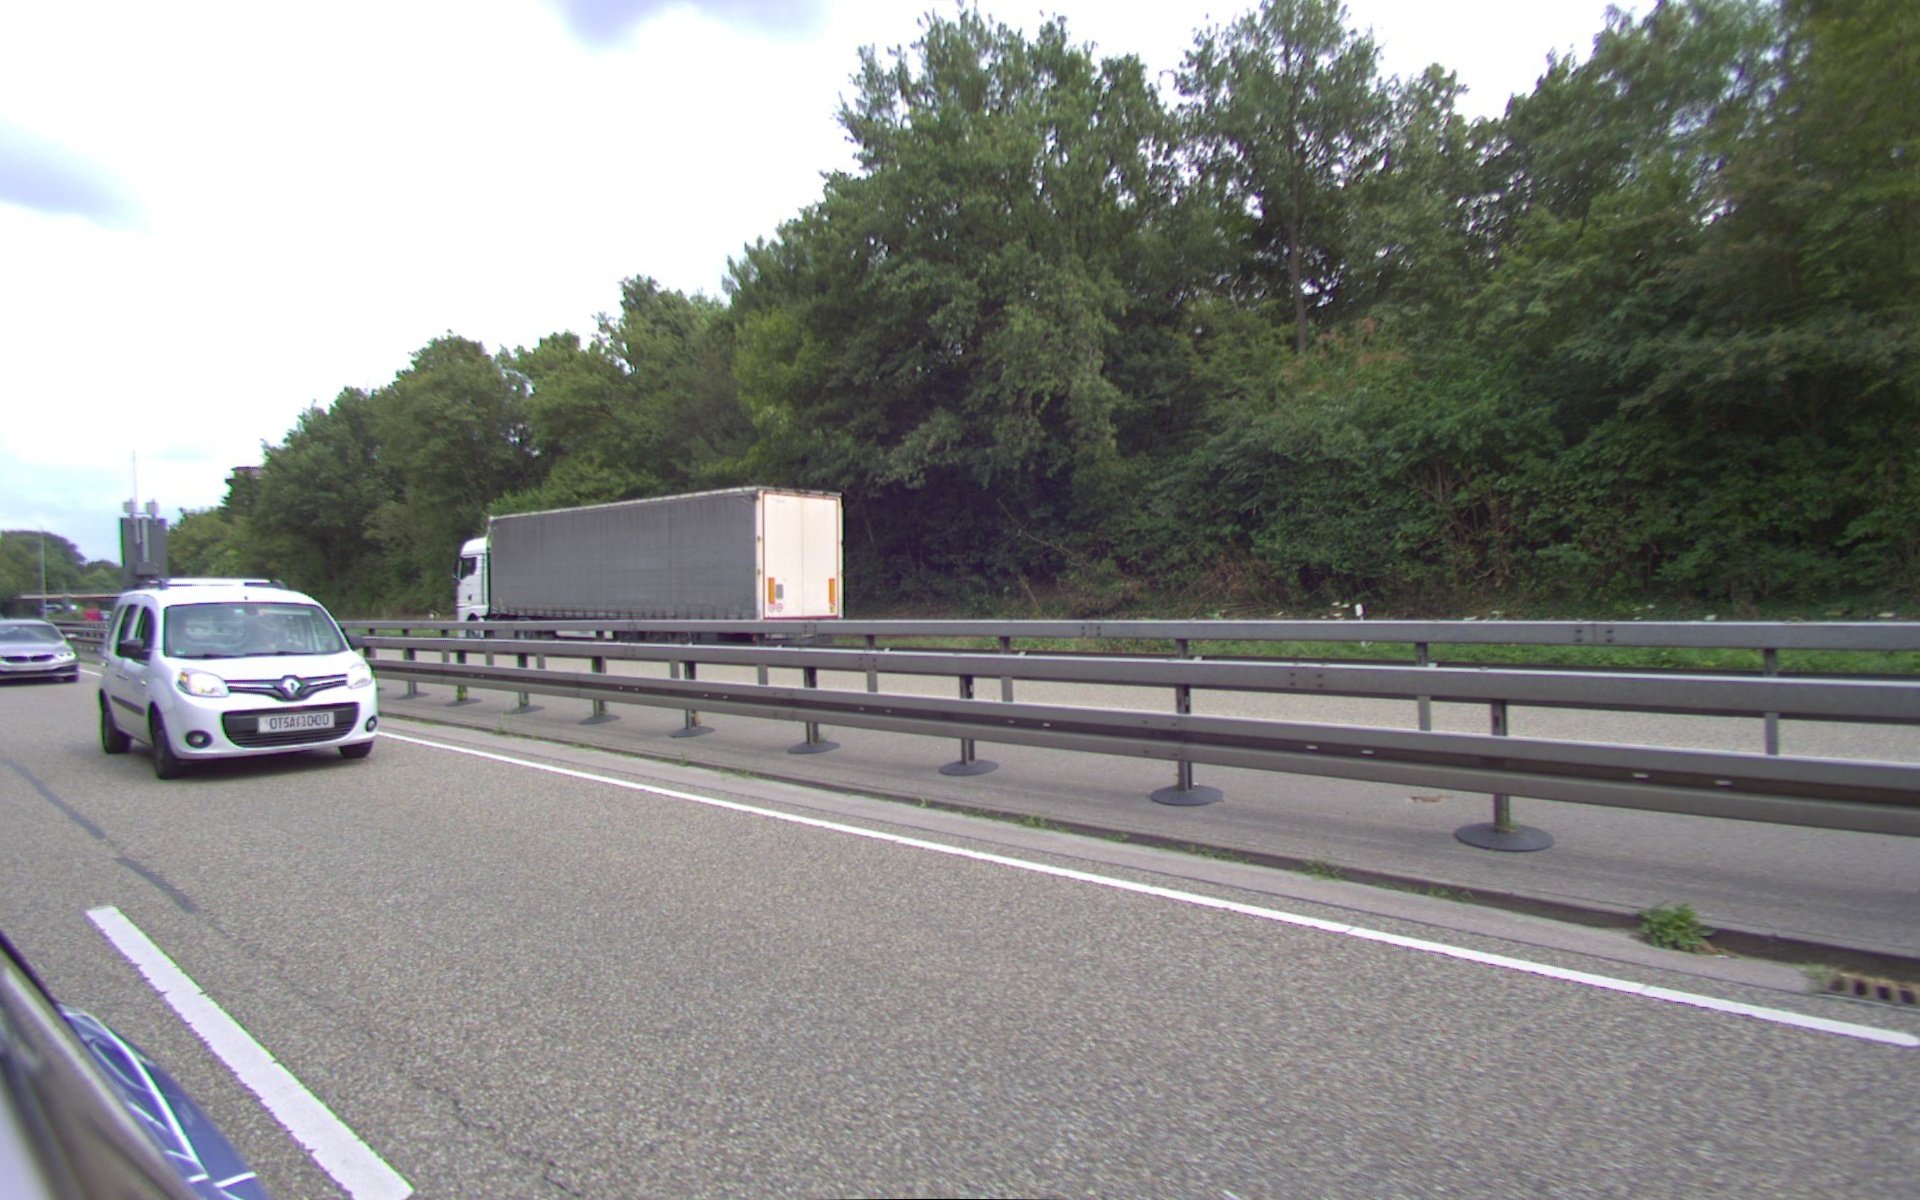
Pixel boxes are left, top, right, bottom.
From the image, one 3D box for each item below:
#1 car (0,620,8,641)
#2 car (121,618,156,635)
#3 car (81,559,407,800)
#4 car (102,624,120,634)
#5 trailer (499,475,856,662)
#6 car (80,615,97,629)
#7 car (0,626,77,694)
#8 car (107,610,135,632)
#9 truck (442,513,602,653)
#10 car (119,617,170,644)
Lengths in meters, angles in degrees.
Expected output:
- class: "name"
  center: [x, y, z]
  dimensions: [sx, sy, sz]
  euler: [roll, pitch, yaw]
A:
- class: "car"
  center: [-89.301, 2.831, 93.547]
  dimensions: [1.790, 1.864, 4.004]
  euler: [0, -1, -43]
- class: "car"
  center: [-72.128, 2.324, 88.811]
  dimensions: [1.971, 1.492, 4.134]
  euler: [0, -1, -45]
- class: "car"
  center: [-7.635, 0.704, 10.626]
  dimensions: [4.421, 2.020, 1.798]
  euler: [-1, -1, 41]
- class: "car"
  center: [-127.294, 4.315, 151.792]
  dimensions: [1.969, 1.521, 4.511]
  euler: [0, -1, -41]
- class: "trailer"
  center: [-8.192, -0.575, 27.318]
  dimensions: [12.865, 4.077, 2.636]
  euler: [-1, -1, 41]
- class: "car"
  center: [-145.324, 3.714, 168.794]
  dimensions: [2.040, 2.273, 5.384]
  euler: [0, -1, -40]
- class: "car"
  center: [-22.058, 1.344, 23.562]
  dimensions: [4.197, 1.435, 1.749]
  euler: [-1, -1, 42]
- class: "car"
  center: [-91.538, 2.332, 110.406]
  dimensions: [1.913, 2.339, 5.309]
  euler: [0, -1, -44]
- class: "truck"
  center: [-14.122, -0.452, 32.473]
  dimensions: [5.319, 4.094, 2.665]
  euler: [-1, -1, 40]
- class: "car"
  center: [-45.694, 1.689, 56.663]
  dimensions: [3.776, 1.457, 1.690]
  euler: [-1, -1, 43]
